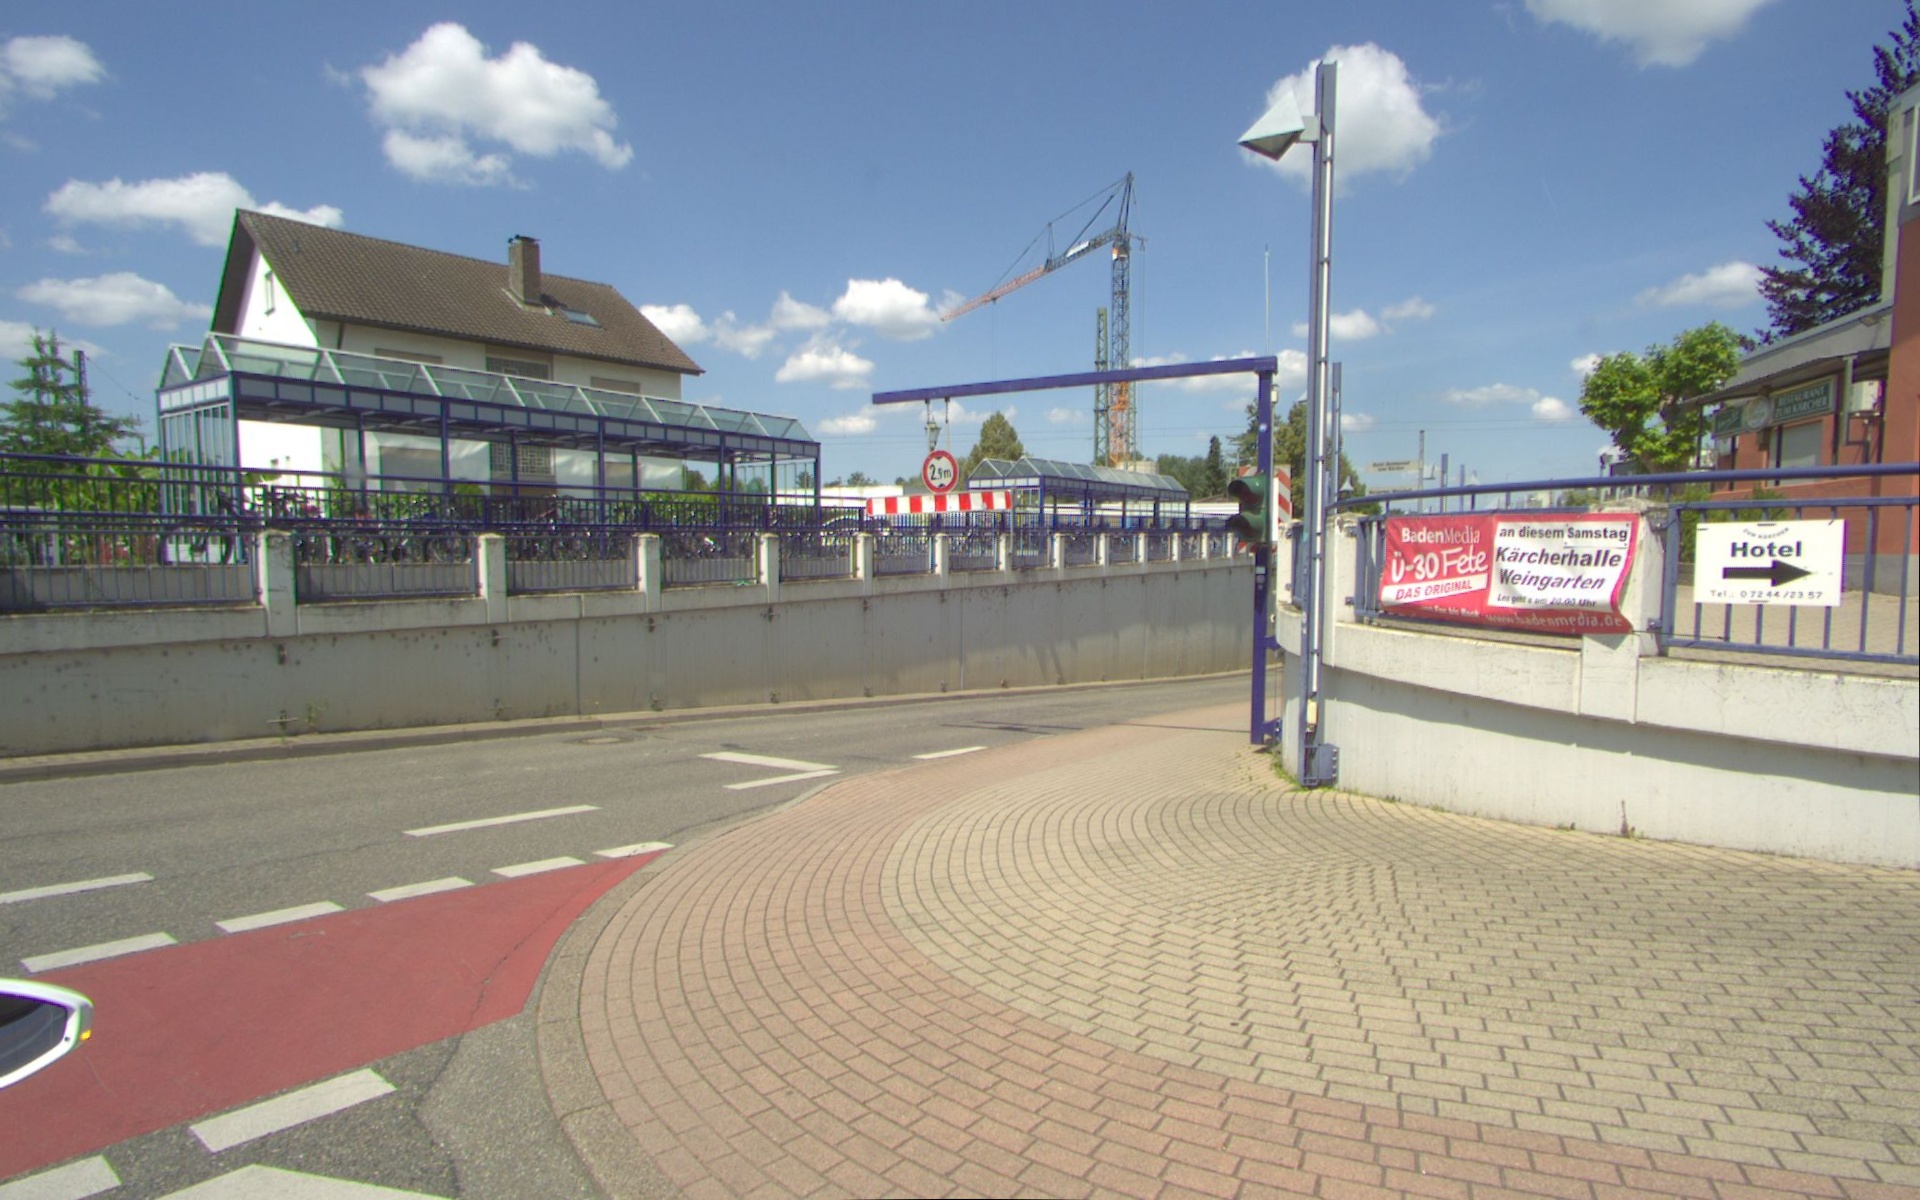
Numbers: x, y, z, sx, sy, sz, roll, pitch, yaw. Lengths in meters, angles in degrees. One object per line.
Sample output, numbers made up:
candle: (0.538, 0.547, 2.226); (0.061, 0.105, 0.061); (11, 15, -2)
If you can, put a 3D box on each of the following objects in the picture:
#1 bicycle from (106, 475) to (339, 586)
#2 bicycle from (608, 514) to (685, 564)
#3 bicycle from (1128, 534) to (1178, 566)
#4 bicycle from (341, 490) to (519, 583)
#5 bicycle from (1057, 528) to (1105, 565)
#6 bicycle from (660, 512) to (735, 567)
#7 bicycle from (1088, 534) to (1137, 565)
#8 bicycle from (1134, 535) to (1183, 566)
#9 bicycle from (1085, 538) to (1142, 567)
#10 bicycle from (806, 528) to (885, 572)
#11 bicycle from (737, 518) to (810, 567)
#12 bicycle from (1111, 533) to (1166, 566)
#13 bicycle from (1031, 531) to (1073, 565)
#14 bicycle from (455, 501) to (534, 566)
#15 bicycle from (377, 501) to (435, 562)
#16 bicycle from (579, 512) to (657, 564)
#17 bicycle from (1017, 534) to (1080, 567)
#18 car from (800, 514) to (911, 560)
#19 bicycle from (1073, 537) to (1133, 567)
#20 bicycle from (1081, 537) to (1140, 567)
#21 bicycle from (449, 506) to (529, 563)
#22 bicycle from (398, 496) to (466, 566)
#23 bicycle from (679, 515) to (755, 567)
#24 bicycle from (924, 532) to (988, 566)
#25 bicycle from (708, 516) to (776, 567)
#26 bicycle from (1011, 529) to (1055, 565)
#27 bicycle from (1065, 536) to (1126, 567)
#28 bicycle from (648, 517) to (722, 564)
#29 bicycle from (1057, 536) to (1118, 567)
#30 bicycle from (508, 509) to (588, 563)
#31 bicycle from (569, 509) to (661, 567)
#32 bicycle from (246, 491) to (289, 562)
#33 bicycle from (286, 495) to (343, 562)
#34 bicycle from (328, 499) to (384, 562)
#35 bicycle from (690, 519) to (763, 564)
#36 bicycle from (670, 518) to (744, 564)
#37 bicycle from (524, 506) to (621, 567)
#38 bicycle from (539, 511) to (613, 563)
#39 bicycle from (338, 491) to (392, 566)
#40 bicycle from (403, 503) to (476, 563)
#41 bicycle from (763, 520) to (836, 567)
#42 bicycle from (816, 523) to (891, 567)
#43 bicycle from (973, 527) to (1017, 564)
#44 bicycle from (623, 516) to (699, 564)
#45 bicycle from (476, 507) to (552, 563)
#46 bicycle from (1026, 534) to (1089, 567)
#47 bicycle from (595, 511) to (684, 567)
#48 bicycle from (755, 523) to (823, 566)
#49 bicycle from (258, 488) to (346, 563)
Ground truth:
bicycle: (-8.235, -0.747, 11.306); (0.328, 1.141, 2.108); (3, 3, 35)
bicycle: (-6.629, -1.276, 21.115); (1.939, 1.009, 0.517); (3, 3, 37)
bicycle: (7.328, -1.898, 38.092); (1.797, 1.174, 0.508); (2, 3, 34)
bicycle: (-6.910, -0.803, 13.185); (0.387, 1.141, 2.108); (3, 3, 35)
bicycle: (3.912, -1.721, 32.439); (1.584, 1.174, 0.425); (3, 4, 45)
bicycle: (-5.161, -1.163, 19.578); (0.574, 1.009, 2.168); (-2, 3, -39)
bicycle: (5.833, -1.931, 38.443); (1.797, 1.174, 0.508); (2, 3, 34)
bicycle: (7.626, -1.911, 38.546); (1.797, 1.174, 0.508); (2, 3, 34)
bicycle: (5.372, -1.669, 35.120); (1.895, 1.009, 0.509); (2, 3, 33)
bicycle: (-2.749, -1.197, 23.830); (2.133, 1.009, 0.435); (2, 3, 36)
bicycle: (-4.017, -1.222, 21.463); (0.512, 1.009, 2.018); (-2, 4, -44)
bicycle: (6.493, -1.846, 36.499); (1.896, 1.174, 0.508); (2, 3, 34)
bicycle: (3.242, -1.847, 35.445); (1.584, 1.174, 0.383); (3, 4, 45)
bicycle: (-7.698, -1.076, 16.512); (0.432, 1.009, 2.257); (-2, 4, -45)
bicycle: (-9.593, -1.165, 17.310); (0.370, 1.009, 1.945); (-2, 4, -44)
bicycle: (-7.005, -1.256, 20.480); (1.939, 1.009, 0.517); (3, 3, 37)
bicycle: (2.776, -1.559, 31.440); (1.997, 1.009, 0.435); (2, 3, 33)
car: (-4.084, -2.438, 39.027); (3.942, 1.701, 1.988); (2, 3, 33)
bicycle: (4.864, -1.639, 34.170); (1.997, 1.009, 0.509); (2, 3, 33)
bicycle: (5.181, -1.648, 34.519); (1.997, 1.009, 0.509); (2, 3, 33)
bicycle: (-8.714, -1.201, 18.505); (1.939, 1.009, 0.471); (3, 3, 37)
bicycle: (-8.184, -1.042, 15.480); (0.432, 1.009, 2.082); (-2, 3, -41)
bicycle: (-4.969, -1.192, 20.385); (2.016, 1.009, 0.512); (3, 4, 44)
bicycle: (-0.131, -1.568, 30.698); (1.997, 1.009, 0.509); (2, 3, 33)
bicycle: (-4.582, -1.210, 20.969); (0.511, 1.009, 2.020); (-2, 3, -40)
bicycle: (2.455, -1.791, 33.762); (1.584, 1.174, 0.383); (3, 4, 45)
bicycle: (4.554, -1.626, 33.734); (1.997, 1.009, 0.509); (2, 3, 33)
bicycle: (-6.104, -1.311, 22.187); (1.939, 1.009, 0.517); (3, 3, 37)
bicycle: (4.220, -1.611, 33.242); (1.997, 1.009, 0.509); (2, 3, 33)
bicycle: (-8.018, -1.230, 19.469); (1.939, 1.009, 0.517); (3, 3, 37)
bicycle: (-6.365, -1.133, 18.410); (2.160, 1.009, 0.530); (3, 3, 39)
bicycle: (-10.645, -1.103, 15.373); (0.451, 1.009, 1.873); (-1, 3, -37)
bicycle: (-10.335, -1.124, 16.008); (0.370, 1.009, 1.945); (-2, 4, -44)
bicycle: (-10.186, -1.155, 16.852); (0.370, 1.009, 1.945); (-2, 4, -44)
bicycle: (-5.406, -1.337, 23.083); (1.939, 1.009, 0.517); (3, 3, 37)
bicycle: (-5.732, -1.324, 22.641); (1.939, 1.009, 0.517); (3, 3, 37)
bicycle: (-6.795, -1.103, 17.513); (2.252, 1.009, 0.530); (3, 3, 39)
bicycle: (-7.716, -1.250, 20.084); (1.777, 1.009, 0.517); (3, 3, 37)
bicycle: (-8.671, -1.012, 14.563); (0.431, 1.009, 2.085); (-1, 3, -37)
bicycle: (-9.325, -1.186, 17.911); (1.941, 1.009, 0.424); (3, 4, 40)
bicycle: (-3.563, -1.242, 22.143); (0.540, 1.009, 2.018); (-2, 4, -44)
bicycle: (-2.552, -1.294, 23.792); (2.014, 1.009, 0.541); (3, 3, 40)
bicycle: (1.126, -1.757, 32.446); (1.584, 1.174, 0.383); (3, 4, 45)
bicycle: (-6.500, -1.298, 21.721); (1.939, 1.009, 0.517); (3, 3, 37)
bicycle: (-8.420, -1.212, 18.878); (1.939, 1.009, 0.412); (3, 3, 37)
bicycle: (3.101, -1.575, 31.964); (1.997, 1.009, 0.509); (2, 3, 33)
bicycle: (-6.130, -1.157, 19.099); (2.160, 1.009, 0.530); (3, 3, 39)
bicycle: (-4.202, -1.342, 24.484); (2.016, 1.009, 0.540); (3, 4, 43)
bicycle: (-9.419, -1.045, 14.298); (2.047, 1.009, 0.331); (2, 3, 36)
